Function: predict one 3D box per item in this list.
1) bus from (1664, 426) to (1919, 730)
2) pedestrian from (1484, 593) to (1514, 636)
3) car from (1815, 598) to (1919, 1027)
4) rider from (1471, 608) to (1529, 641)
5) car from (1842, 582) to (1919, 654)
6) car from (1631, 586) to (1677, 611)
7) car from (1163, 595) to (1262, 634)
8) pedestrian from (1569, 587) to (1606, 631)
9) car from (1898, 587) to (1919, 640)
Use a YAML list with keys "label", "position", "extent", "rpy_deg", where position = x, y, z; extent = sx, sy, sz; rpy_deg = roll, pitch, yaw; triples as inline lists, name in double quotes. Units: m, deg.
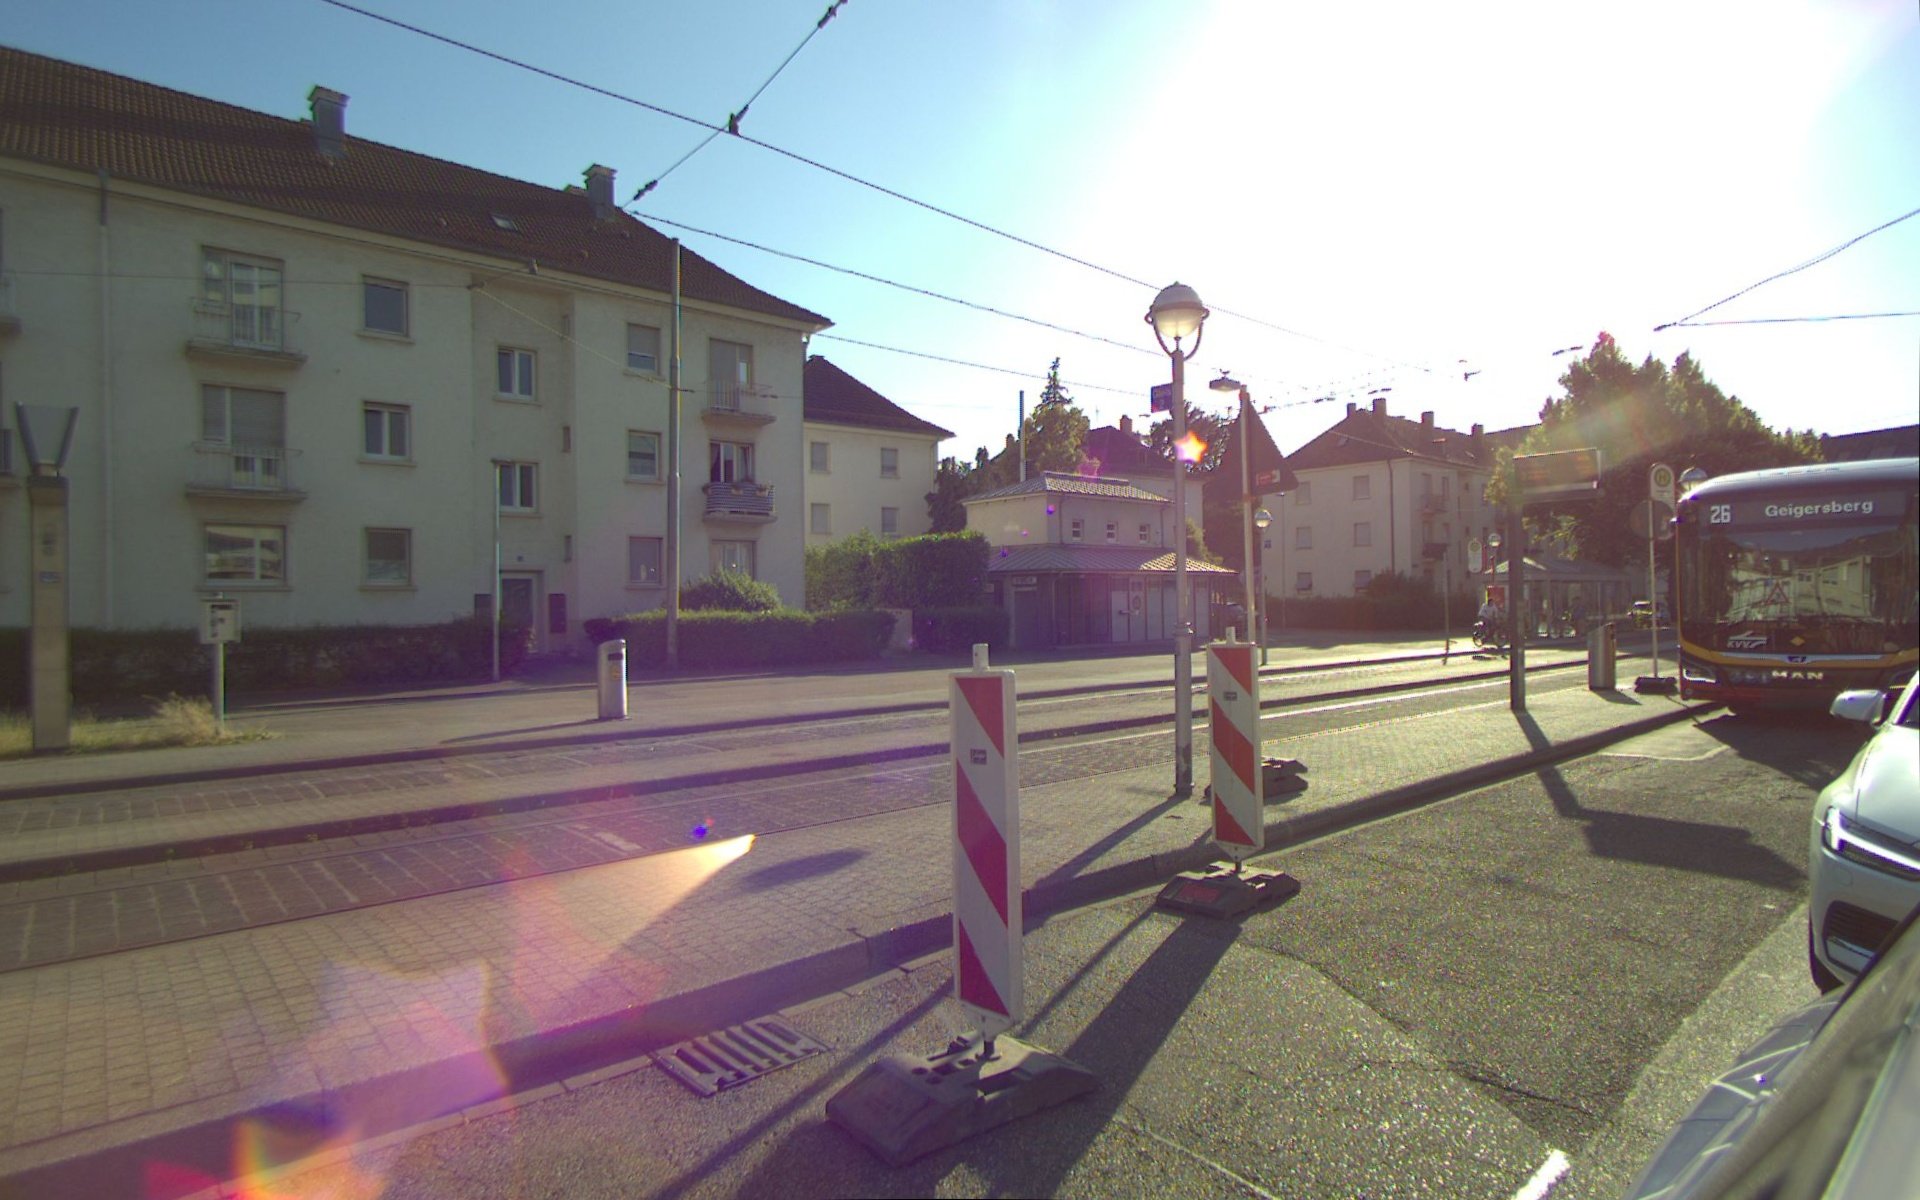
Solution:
- label: "bus"
  position: [14.319, -0.265, 15.849]
  extent: [11.824, 3.345, 2.745]
  rpy_deg: [0, 0, -42]
- label: "pedestrian"
  position: [17.667, 0.475, 33.173]
  extent: [0.568, 1.398, 0.660]
  rpy_deg: [0, 0, -14]
- label: "car"
  position: [5.275, 0.731, 4.361]
  extent: [4.143, 1.472, 1.819]
  rpy_deg: [0, 0, -41]
- label: "rider"
  position: [17.670, 0.796, 33.183]
  extent: [0.568, 1.004, 1.861]
  rpy_deg: [0, 0, -14]
- label: "car"
  position: [21.227, 0.358, 22.367]
  extent: [4.740, 1.477, 1.968]
  rpy_deg: [0, 0, -41]
- label: "car"
  position: [53.779, -0.114, 78.439]
  extent: [3.930, 1.887, 1.997]
  rpy_deg: [-1, 0, -41]
- label: "car"
  position: [11.586, 0.680, 46.671]
  extent: [1.964, 1.694, 4.050]
  rpy_deg: [-1, -1, -39]
- label: "pedestrian"
  position: [23.682, 0.345, 38.209]
  extent: [0.825, 1.631, 0.826]
  rpy_deg: [0, 0, -8]
- label: "car"
  position: [28.786, 0.367, 29.233]
  extent: [4.740, 1.477, 1.968]
  rpy_deg: [0, 0, -41]
